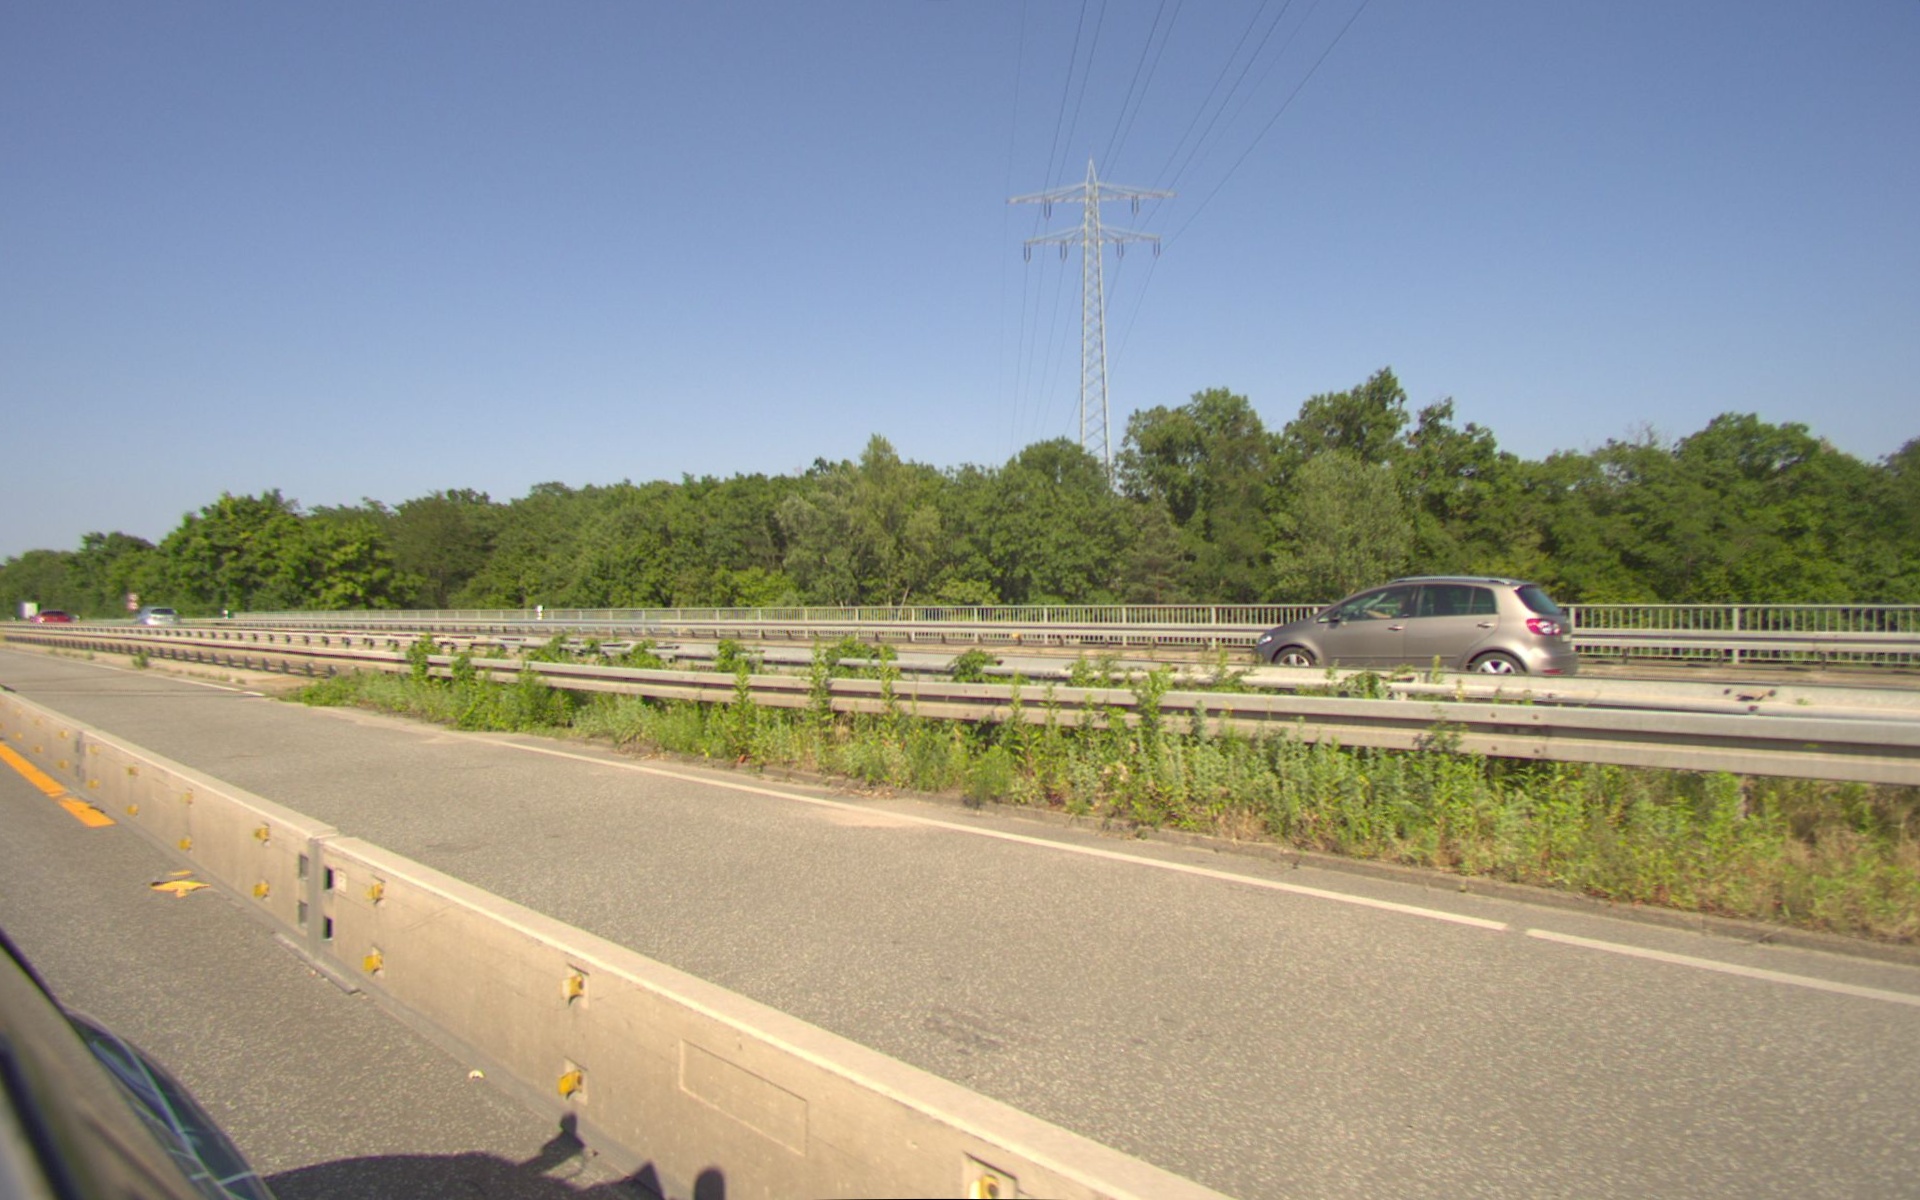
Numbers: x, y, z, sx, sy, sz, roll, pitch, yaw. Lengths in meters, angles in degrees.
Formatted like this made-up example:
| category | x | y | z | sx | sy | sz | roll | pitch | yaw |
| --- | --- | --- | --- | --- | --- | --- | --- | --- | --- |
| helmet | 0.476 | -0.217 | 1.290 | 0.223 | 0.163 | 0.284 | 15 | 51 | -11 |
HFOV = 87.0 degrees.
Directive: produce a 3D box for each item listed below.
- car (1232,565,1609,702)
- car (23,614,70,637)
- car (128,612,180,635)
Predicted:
| category | x | y | z | sx | sy | sz | roll | pitch | yaw |
| --- | --- | --- | --- | --- | --- | --- | --- | --- | --- |
| car | 6.184 | 0.429 | 13.913 | 4.420 | 1.595 | 1.745 | -1 | -2 | 41 |
| car | -58.227 | 1.609 | 64.477 | 4.218 | 1.407 | 1.697 | -1 | -1 | 40 |
| car | -50.295 | 1.458 | 63.114 | 4.123 | 1.403 | 1.759 | -1 | -2 | 41 |
